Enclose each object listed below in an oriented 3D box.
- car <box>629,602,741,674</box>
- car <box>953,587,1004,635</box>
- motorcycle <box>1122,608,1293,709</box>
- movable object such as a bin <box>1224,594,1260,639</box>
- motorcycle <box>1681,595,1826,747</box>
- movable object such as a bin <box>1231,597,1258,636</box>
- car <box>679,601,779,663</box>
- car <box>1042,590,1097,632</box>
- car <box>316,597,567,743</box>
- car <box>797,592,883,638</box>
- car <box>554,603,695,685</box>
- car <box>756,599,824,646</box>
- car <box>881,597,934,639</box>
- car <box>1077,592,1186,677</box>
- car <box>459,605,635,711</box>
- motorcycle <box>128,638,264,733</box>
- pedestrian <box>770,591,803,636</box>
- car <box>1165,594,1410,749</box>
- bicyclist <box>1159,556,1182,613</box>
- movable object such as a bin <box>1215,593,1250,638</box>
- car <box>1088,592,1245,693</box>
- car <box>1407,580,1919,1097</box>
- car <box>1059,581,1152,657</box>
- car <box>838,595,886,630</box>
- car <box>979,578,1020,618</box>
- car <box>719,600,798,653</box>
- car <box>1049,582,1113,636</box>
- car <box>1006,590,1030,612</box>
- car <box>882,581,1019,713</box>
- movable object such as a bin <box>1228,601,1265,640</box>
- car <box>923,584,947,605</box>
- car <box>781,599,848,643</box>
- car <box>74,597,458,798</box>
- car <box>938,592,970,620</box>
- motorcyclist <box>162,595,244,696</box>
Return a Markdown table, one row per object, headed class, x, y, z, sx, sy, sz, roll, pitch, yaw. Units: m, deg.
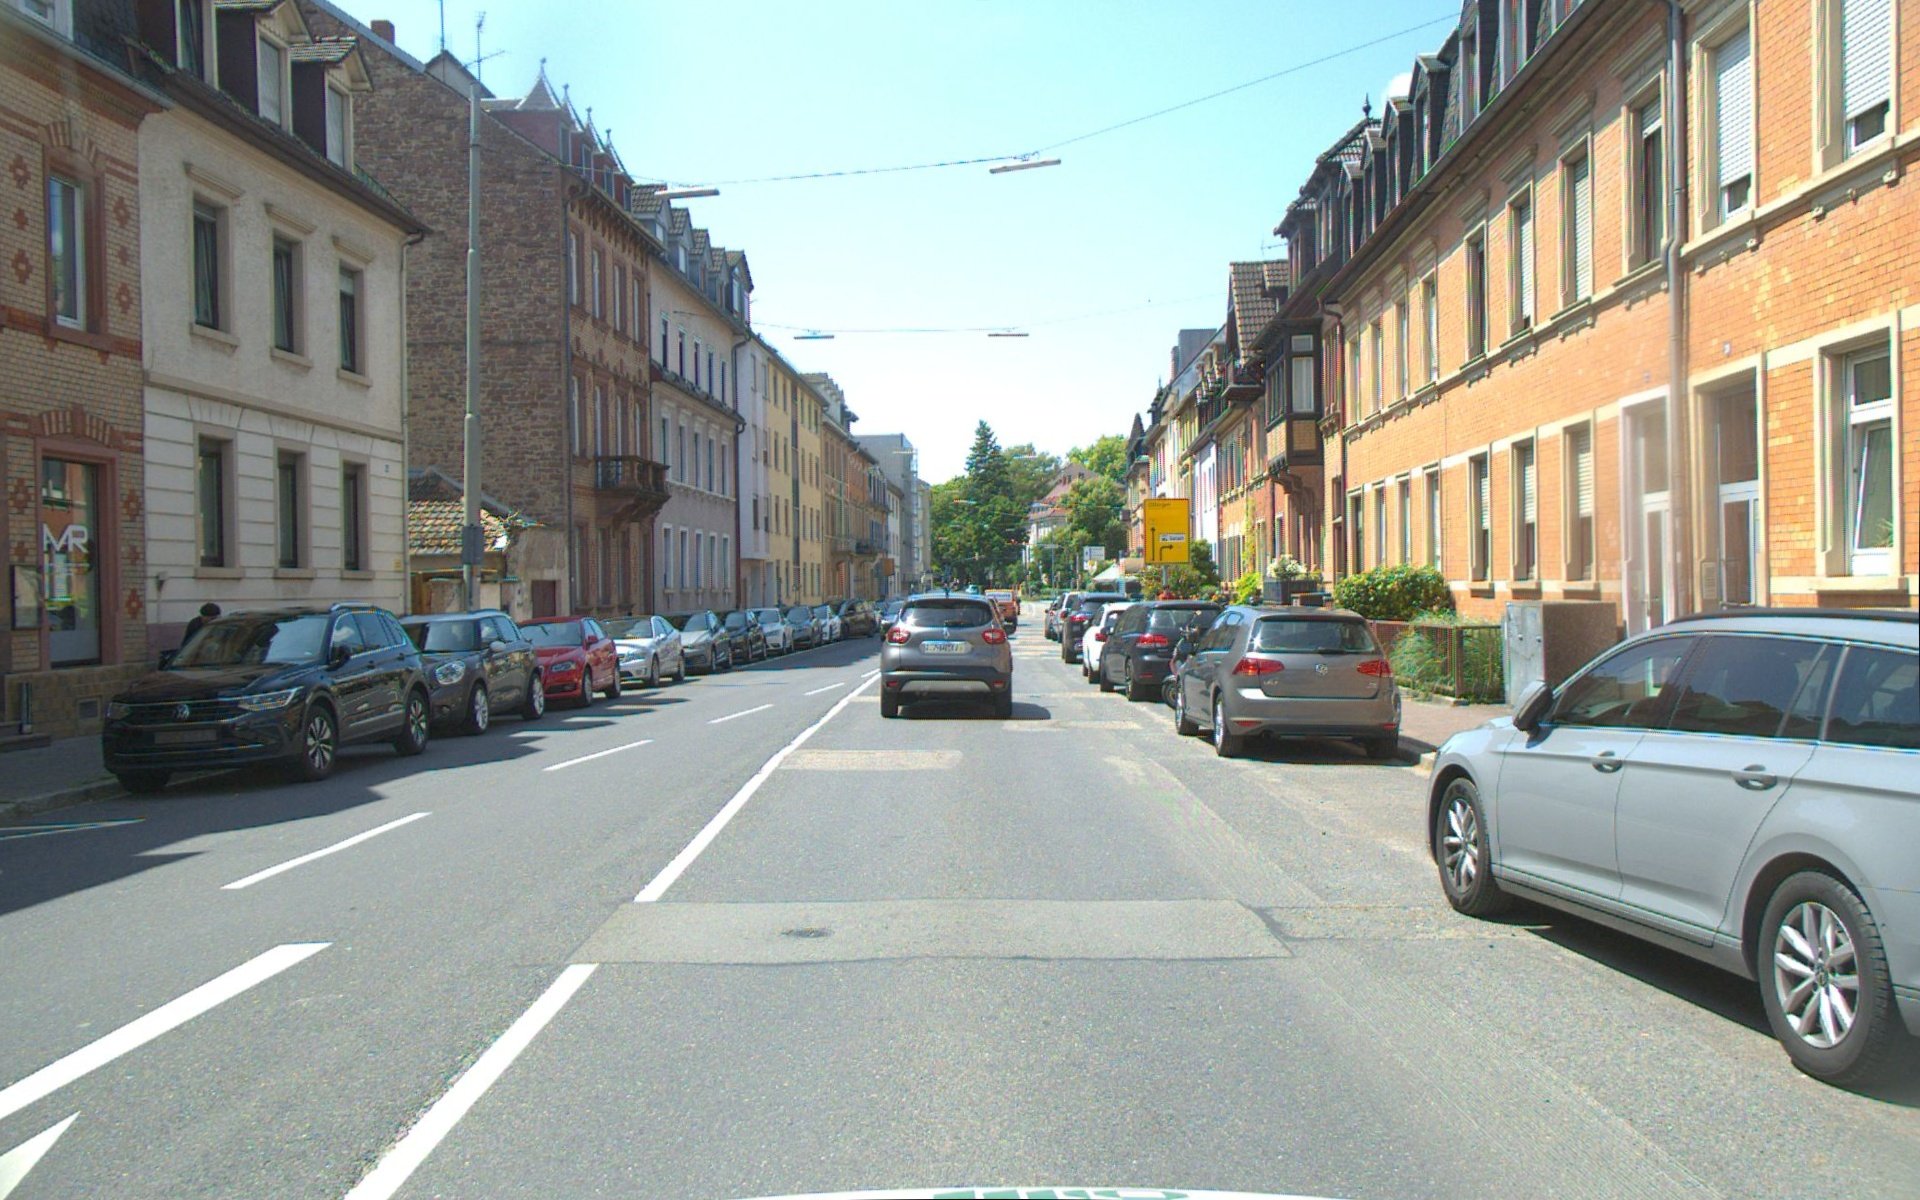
| class | x | y | z | sx | sy | sz | roll | pitch | yaw |
| --- | --- | --- | --- | --- | --- | --- | --- | --- | --- |
| car | -6.492 | 0.856 | 39.465 | 1.803 | 1.447 | 4.502 | -6 | 0 | 0 |
| car | 0.692 | 0.403 | 62.206 | 1.775 | 1.649 | 4.441 | -3 | 0 | 0 |
| motorcycle | 3.249 | 0.740 | 21.804 | 1.959 | 1.246 | 1.107 | 0 | 0 | 40 |
| movable object such as a bin | 7.023 | 0.405 | 41.164 | 0.772 | 1.107 | 0.539 | -2 | 0 | -1 |
| motorcycle | 6.835 | 0.585 | 14.315 | 0.583 | 1.246 | 1.361 | -1 | 0 | 1 |
| movable object such as a bin | 8.011 | 0.469 | 46.665 | 0.645 | 1.073 | 0.749 | -1 | 0 | 3 |
| car | -6.255 | 0.842 | 45.330 | 1.802 | 1.447 | 4.504 | -5 | 0 | 3 |
| car | 4.164 | 0.388 | 63.380 | 1.822 | 1.513 | 4.310 | 1 | 0 | 0 |
| car | -6.828 | 0.857 | 22.312 | 1.802 | 1.624 | 4.502 | -5 | 0 | 1 |
| car | -4.937 | 0.599 | 68.670 | 1.865 | 1.666 | 4.560 | -3 | 0 | 19 |
| car | -6.721 | 0.832 | 33.601 | 1.802 | 1.447 | 4.502 | -3 | 0 | 1 |
| car | -5.761 | 0.737 | 56.517 | 1.802 | 1.447 | 4.645 | -3 | 0 | 0 |
| car | -1.929 | 0.656 | 62.412 | 1.754 | 1.445 | 4.315 | -2 | 0 | 1 |
| car | 3.167 | 0.598 | 31.257 | 1.681 | 1.439 | 4.590 | -2 | 0 | 2 |
| car | -6.648 | 0.880 | 27.121 | 1.803 | 1.447 | 4.500 | -4 | 0 | -2 |
| motorcycle | -9.792 | 1.071 | 21.290 | 0.828 | 1.097 | 1.872 | -1 | 0 | 1 |
| pedestrian | -6.904 | 0.531 | 65.881 | 1.127 | 1.780 | 0.970 | -1 | 0 | 4 |
| car | 3.272 | 0.663 | 17.312 | 1.666 | 1.405 | 4.166 | -1 | 0 | -1 |
| bicyclist | 5.641 | -0.407 | 44.312 | 0.521 | 1.495 | 0.791 | -2 | 0 | 2 |
| movable object such as a bin | 6.977 | 0.396 | 42.342 | 0.772 | 1.107 | 0.554 | -2 | 0 | -1 |
| car | 3.168 | 0.615 | 26.194 | 1.616 | 1.439 | 4.497 | -1 | 0 | -4 |
| car | 3.484 | 0.682 | 6.477 | 1.818 | 1.489 | 4.544 | -1 | 0 | -6 |
| car | 3.472 | 0.432 | 40.263 | 1.952 | 1.691 | 4.626 | -2 | 0 | 2 |
| car | -4.710 | 0.584 | 80.135 | 1.865 | 1.536 | 4.303 | -3 | 0 | 2 |
| car | 2.143 | -0.122 | 89.257 | 1.952 | 2.049 | 4.468 | -2 | 0 | 4 |
| car | -6.103 | 0.776 | 50.587 | 1.802 | 1.447 | 4.502 | -3 | 0 | 0 |
| car | 4.190 | 0.290 | 57.941 | 1.822 | 1.778 | 4.617 | 1 | 0 | -1 |
| car | 4.400 | 0.028 | 124.682 | 1.726 | 1.587 | 3.944 | -1 | 0 | 3 |
| car | -0.119 | 0.590 | 22.704 | 1.708 | 1.645 | 4.000 | 0 | 0 | 0 |
| movable object such as a bin | 7.024 | 0.490 | 40.532 | 0.772 | 0.923 | 0.539 | -2 | 0 | -1 |
| car | -2.212 | -0.489 | 147.363 | 1.865 | 1.853 | 4.304 | -2 | 0 | 3 |
| car | -5.448 | 0.767 | 62.294 | 1.802 | 1.447 | 4.559 | -4 | 0 | 3 |
| car | -6.670 | 0.846 | 16.515 | 1.802 | 1.624 | 4.502 | -3 | 0 | 1 |
| car | -0.412 | 0.395 | 112.897 | 1.954 | 1.823 | 5.146 | -2 | 0 | -2 |
| motorcyclist | -9.795 | 0.574 | 21.426 | 0.703 | 1.270 | 0.712 | -1 | 0 | 0 |
